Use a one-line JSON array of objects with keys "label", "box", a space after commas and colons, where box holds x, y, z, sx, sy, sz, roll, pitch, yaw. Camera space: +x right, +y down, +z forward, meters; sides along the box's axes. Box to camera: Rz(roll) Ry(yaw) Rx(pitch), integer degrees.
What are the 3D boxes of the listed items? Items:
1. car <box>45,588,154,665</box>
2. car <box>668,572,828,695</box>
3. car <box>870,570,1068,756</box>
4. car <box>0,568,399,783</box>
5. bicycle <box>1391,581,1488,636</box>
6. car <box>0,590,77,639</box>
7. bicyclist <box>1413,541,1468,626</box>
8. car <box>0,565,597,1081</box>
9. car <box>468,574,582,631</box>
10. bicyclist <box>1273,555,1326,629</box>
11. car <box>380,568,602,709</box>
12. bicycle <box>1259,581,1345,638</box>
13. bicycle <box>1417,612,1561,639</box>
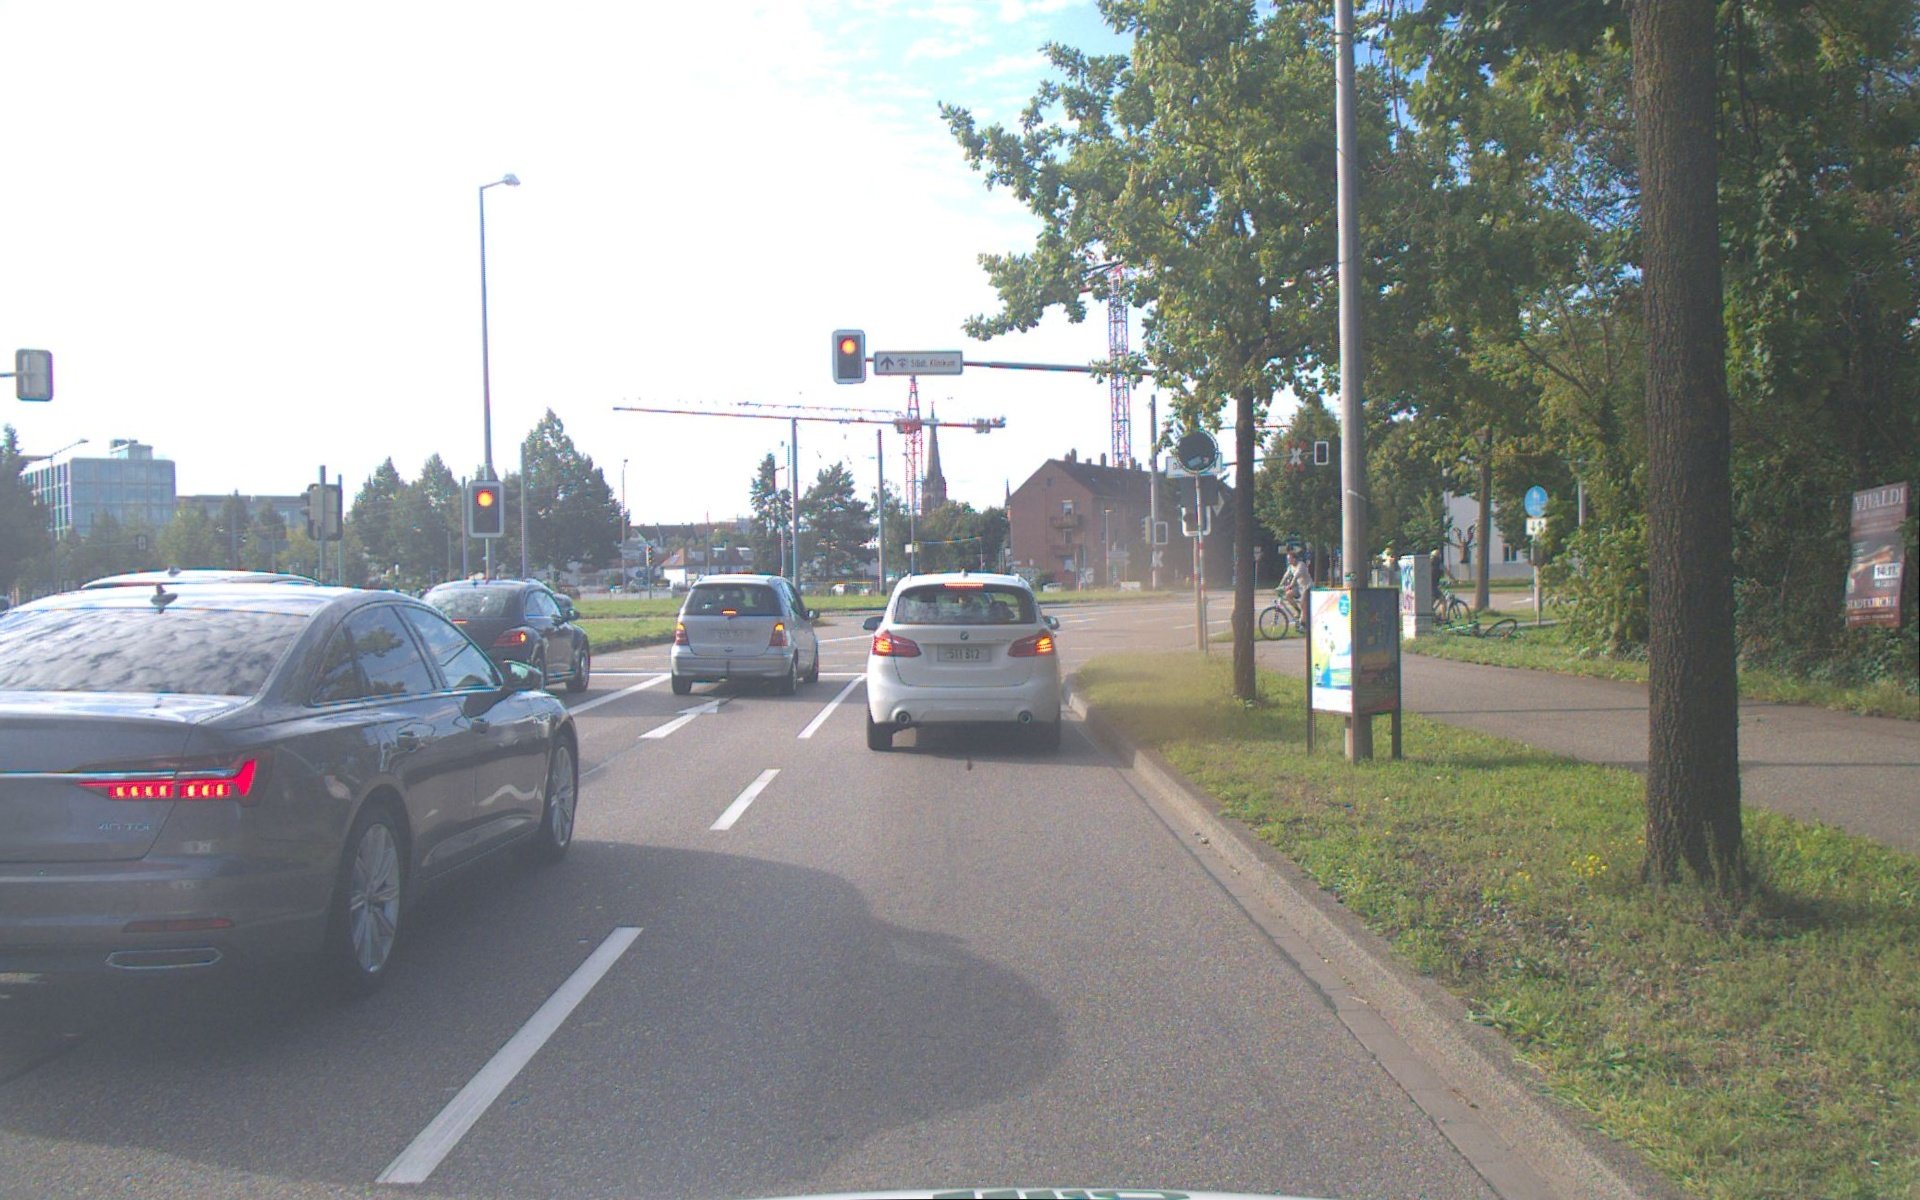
[{"label": "car", "box": [-19.960, 0.599, 38.499, 1.680, 1.600, 3.976, -3, 1, -20]}, {"label": "car", "box": [-2.889, 0.406, 23.276, 1.694, 1.585, 4.058, 0, 1, 0]}, {"label": "car", "box": [0.045, 0.509, 16.135, 1.694, 1.585, 4.057, 0, 1, -1]}, {"label": "car", "box": [-6.357, 0.540, 14.265, 1.694, 1.585, 4.018, 0, 1, -1]}, {"label": "bicycle", "box": [9.605, 0.166, 33.162, 1.740, 1.068, 0.708, -1, 0, -13]}, {"label": "car", "box": [-41.251, 0.642, 72.516, 1.786, 2.049, 4.232, -2, -1, 26]}, {"label": "bicyclist", "box": [9.634, -0.330, 33.164, 0.815, 1.676, 0.683, -1, 0, -13]}, {"label": "car", "box": [-2.964, 0.642, 7.134, 1.851, 1.509, 4.612, 0, 0, -1]}, {"label": "car", "box": [-13.313, 0.066, 50.765, 3.127, 1.601, 1.573, -2, 2, -7]}, {"label": "bicyclist", "box": [7.245, -0.177, 35.330, 0.835, 1.553, 0.737, -2, 0, -17]}, {"label": "car", "box": [-5.732, 0.398, 20.678, 1.686, 1.592, 3.877, 0, 1, 0]}, {"label": "bicycle", "box": [7.317, 0.198, 35.367, 1.698, 1.184, 0.653, -1, 0, -17]}, {"label": "bicycle", "box": [9.423, 0.448, 29.622, 1.382, 0.392, 2.569, -2, 1, -12]}]
